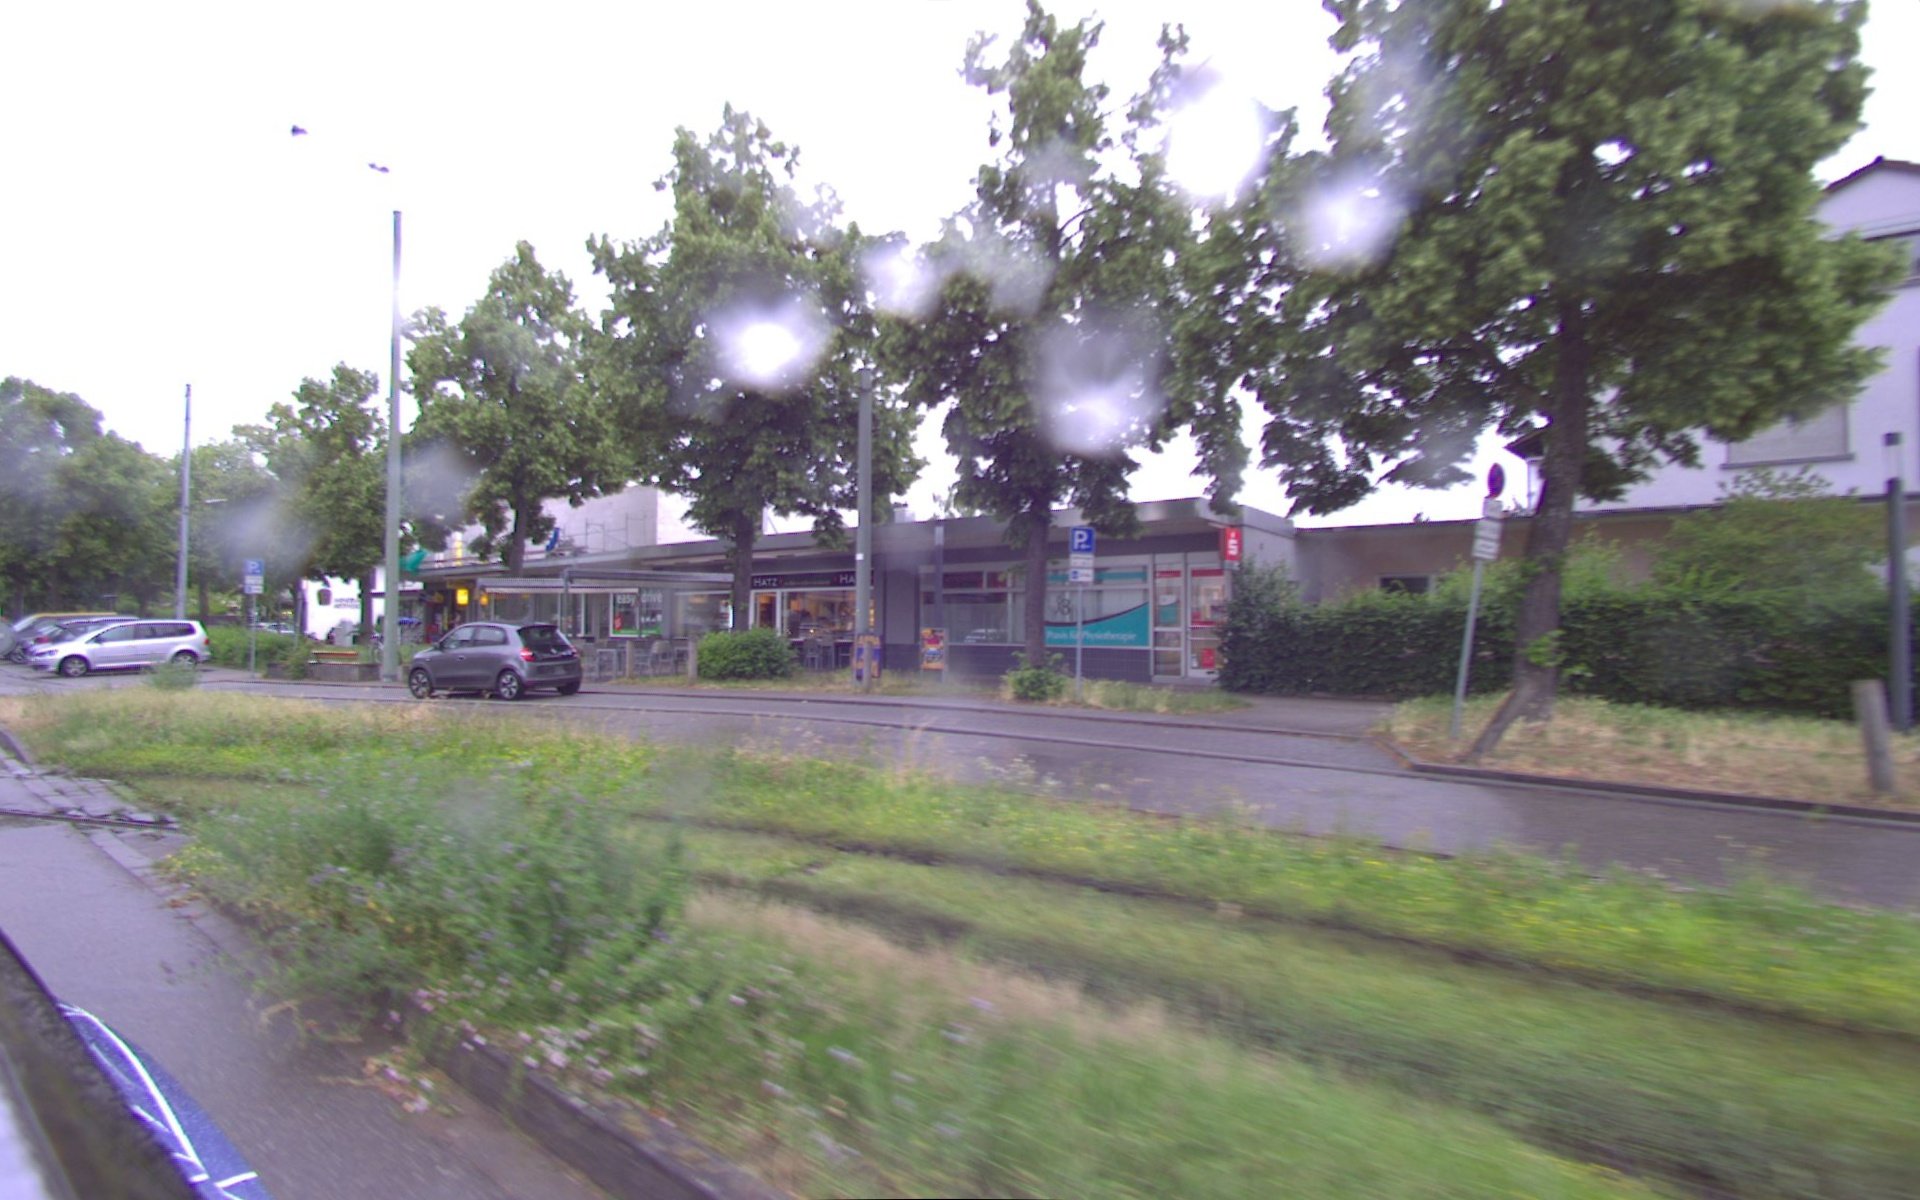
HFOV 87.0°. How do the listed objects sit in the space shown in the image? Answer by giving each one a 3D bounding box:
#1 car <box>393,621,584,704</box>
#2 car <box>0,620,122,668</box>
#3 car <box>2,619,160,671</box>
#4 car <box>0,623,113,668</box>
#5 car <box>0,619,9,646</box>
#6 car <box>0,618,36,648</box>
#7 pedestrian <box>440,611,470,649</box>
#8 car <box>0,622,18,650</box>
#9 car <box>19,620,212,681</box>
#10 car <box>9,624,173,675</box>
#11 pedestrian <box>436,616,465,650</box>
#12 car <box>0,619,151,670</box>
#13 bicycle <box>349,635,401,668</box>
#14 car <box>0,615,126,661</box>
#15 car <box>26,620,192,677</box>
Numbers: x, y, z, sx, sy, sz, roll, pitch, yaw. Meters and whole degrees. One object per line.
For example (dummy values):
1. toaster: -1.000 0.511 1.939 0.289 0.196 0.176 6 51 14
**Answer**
1. car: -9.548 1.223 20.494 3.601 1.515 1.539 -1 0 24
2. car: -35.479 1.688 39.504 1.897 1.722 4.036 -2 -1 40
3. car: -31.450 1.563 36.289 1.897 1.722 4.036 -2 -1 40
4. car: -39.460 1.939 43.663 1.897 1.823 4.248 -2 -1 40
5. car: -72.226 2.398 73.480 1.897 1.958 4.488 -2 -1 40
6. car: -64.665 2.233 67.392 1.897 1.958 4.488 -2 -1 40
7. pedestrian: -23.830 1.414 47.725 1.063 1.727 0.950 2 -2 -38
8. car: -68.690 2.566 70.379 1.897 1.958 4.488 -2 -1 40
9. car: -25.833 1.481 31.061 1.998 1.686 4.280 -2 -1 40
10. car: -29.876 1.665 34.861 1.998 1.583 4.036 -2 -1 40
11. pedestrian: -24.507 1.567 48.638 1.063 1.596 0.950 2 -2 -38
12. car: -32.967 1.621 37.777 1.897 1.722 4.036 -2 -1 40
13. bicycle: -19.705 1.724 34.098 1.740 1.080 0.589 -1 -3 24
14. car: -41.215 1.695 46.290 1.897 1.958 4.488 -2 -1 40
15. car: -27.522 1.517 32.818 1.792 1.686 3.895 -2 -1 40
